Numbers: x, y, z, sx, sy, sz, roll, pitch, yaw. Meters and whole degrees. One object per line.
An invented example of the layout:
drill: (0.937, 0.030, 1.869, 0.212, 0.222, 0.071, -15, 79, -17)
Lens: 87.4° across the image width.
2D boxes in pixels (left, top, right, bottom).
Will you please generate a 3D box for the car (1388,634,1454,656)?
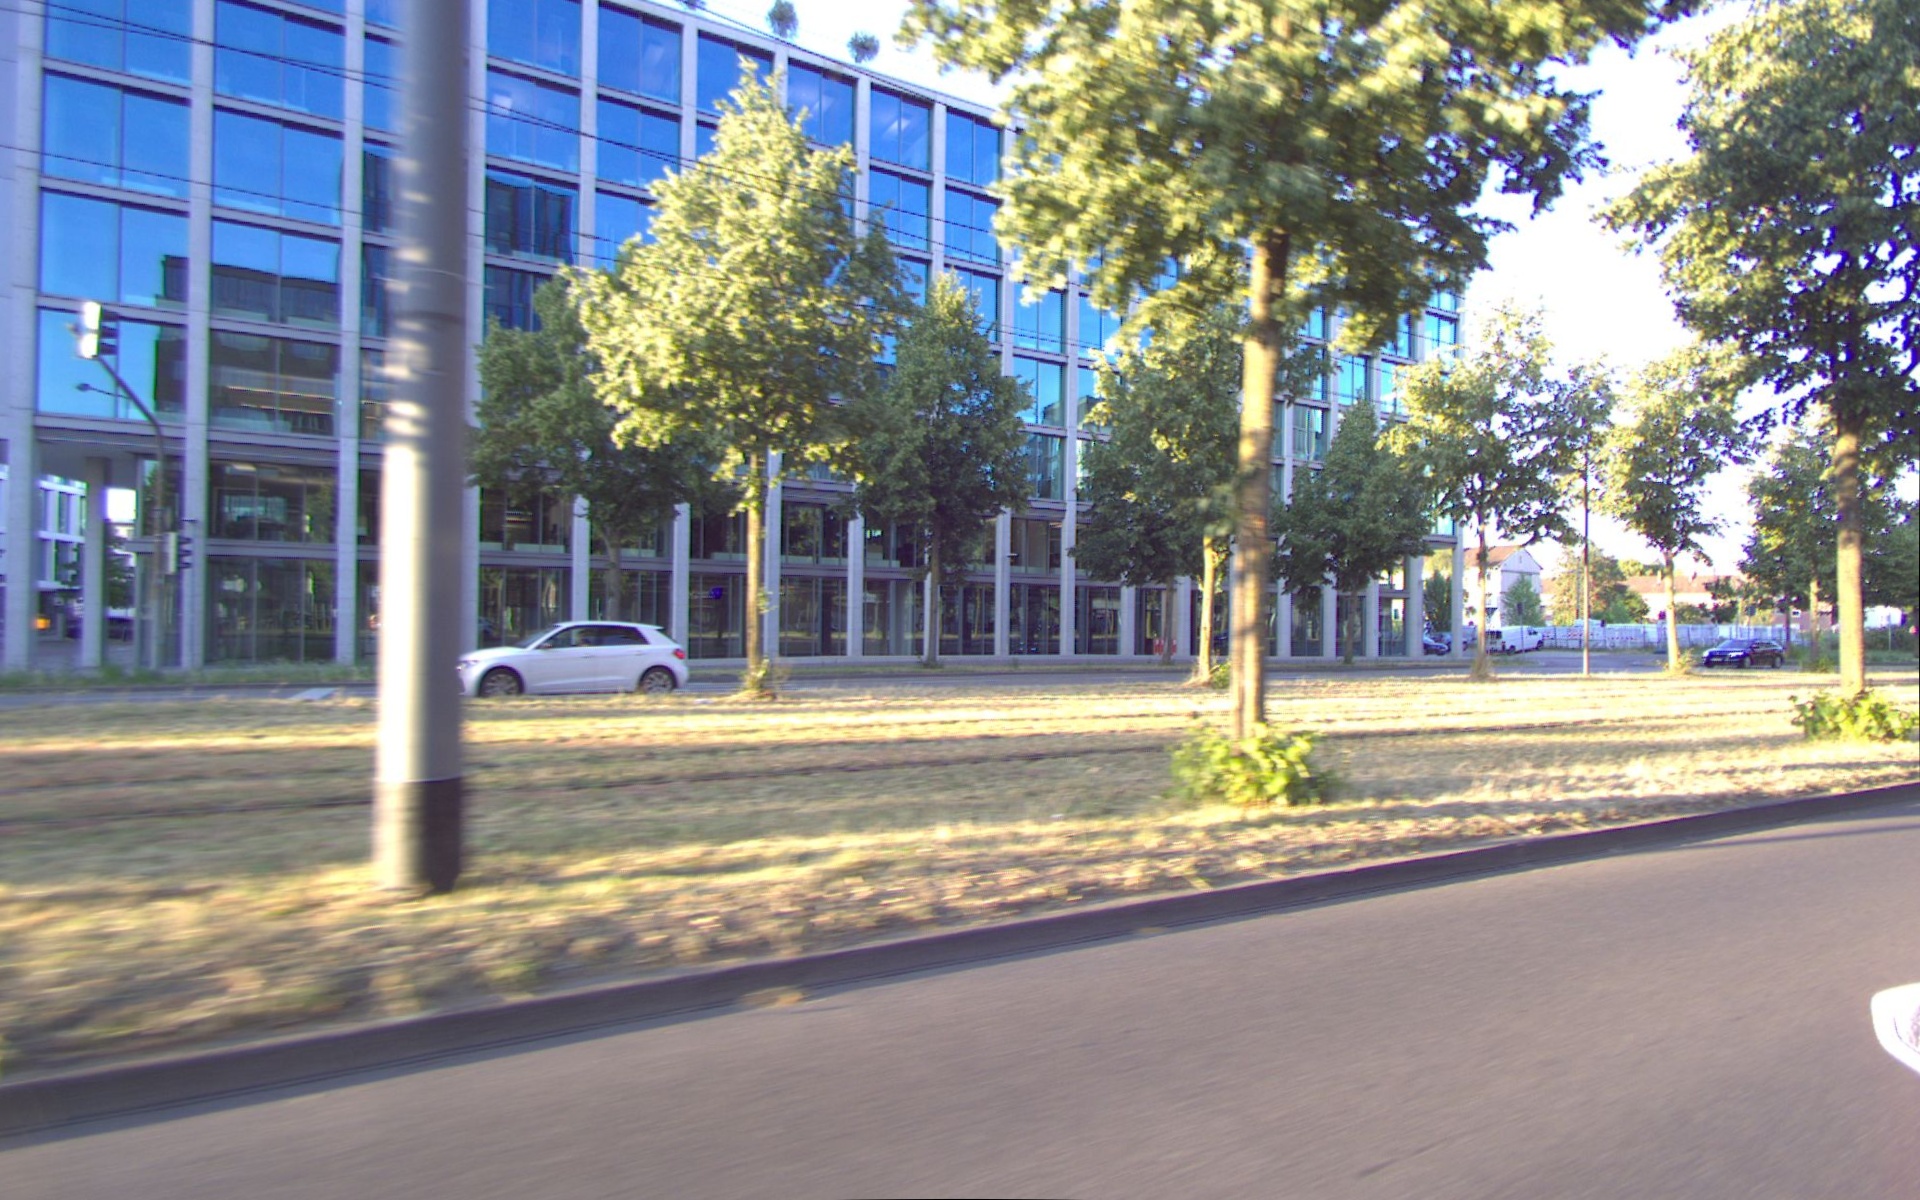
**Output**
car: (32.333, 3.143, 70.537, 1.869, 1.465, 3.974, 1, -1, -26)

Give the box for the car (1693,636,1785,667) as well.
car: (38.290, 2.531, 49.369, 4.331, 1.441, 1.924, 1, -1, -27)

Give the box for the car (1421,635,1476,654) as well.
car: (38.672, 3.489, 79.517, 3.952, 1.437, 1.985, 2, -1, -29)

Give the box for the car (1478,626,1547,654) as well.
car: (40.981, 2.956, 74.453, 5.022, 2.040, 2.197, 2, -1, -29)

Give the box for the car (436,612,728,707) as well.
car: (-6.646, 0.998, 17.827, 4.579, 1.505, 1.892, 1, -1, -32)

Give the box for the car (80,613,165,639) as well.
car: (-55.588, 1.714, 66.764, 3.945, 1.686, 1.988, 1, -1, -25)
